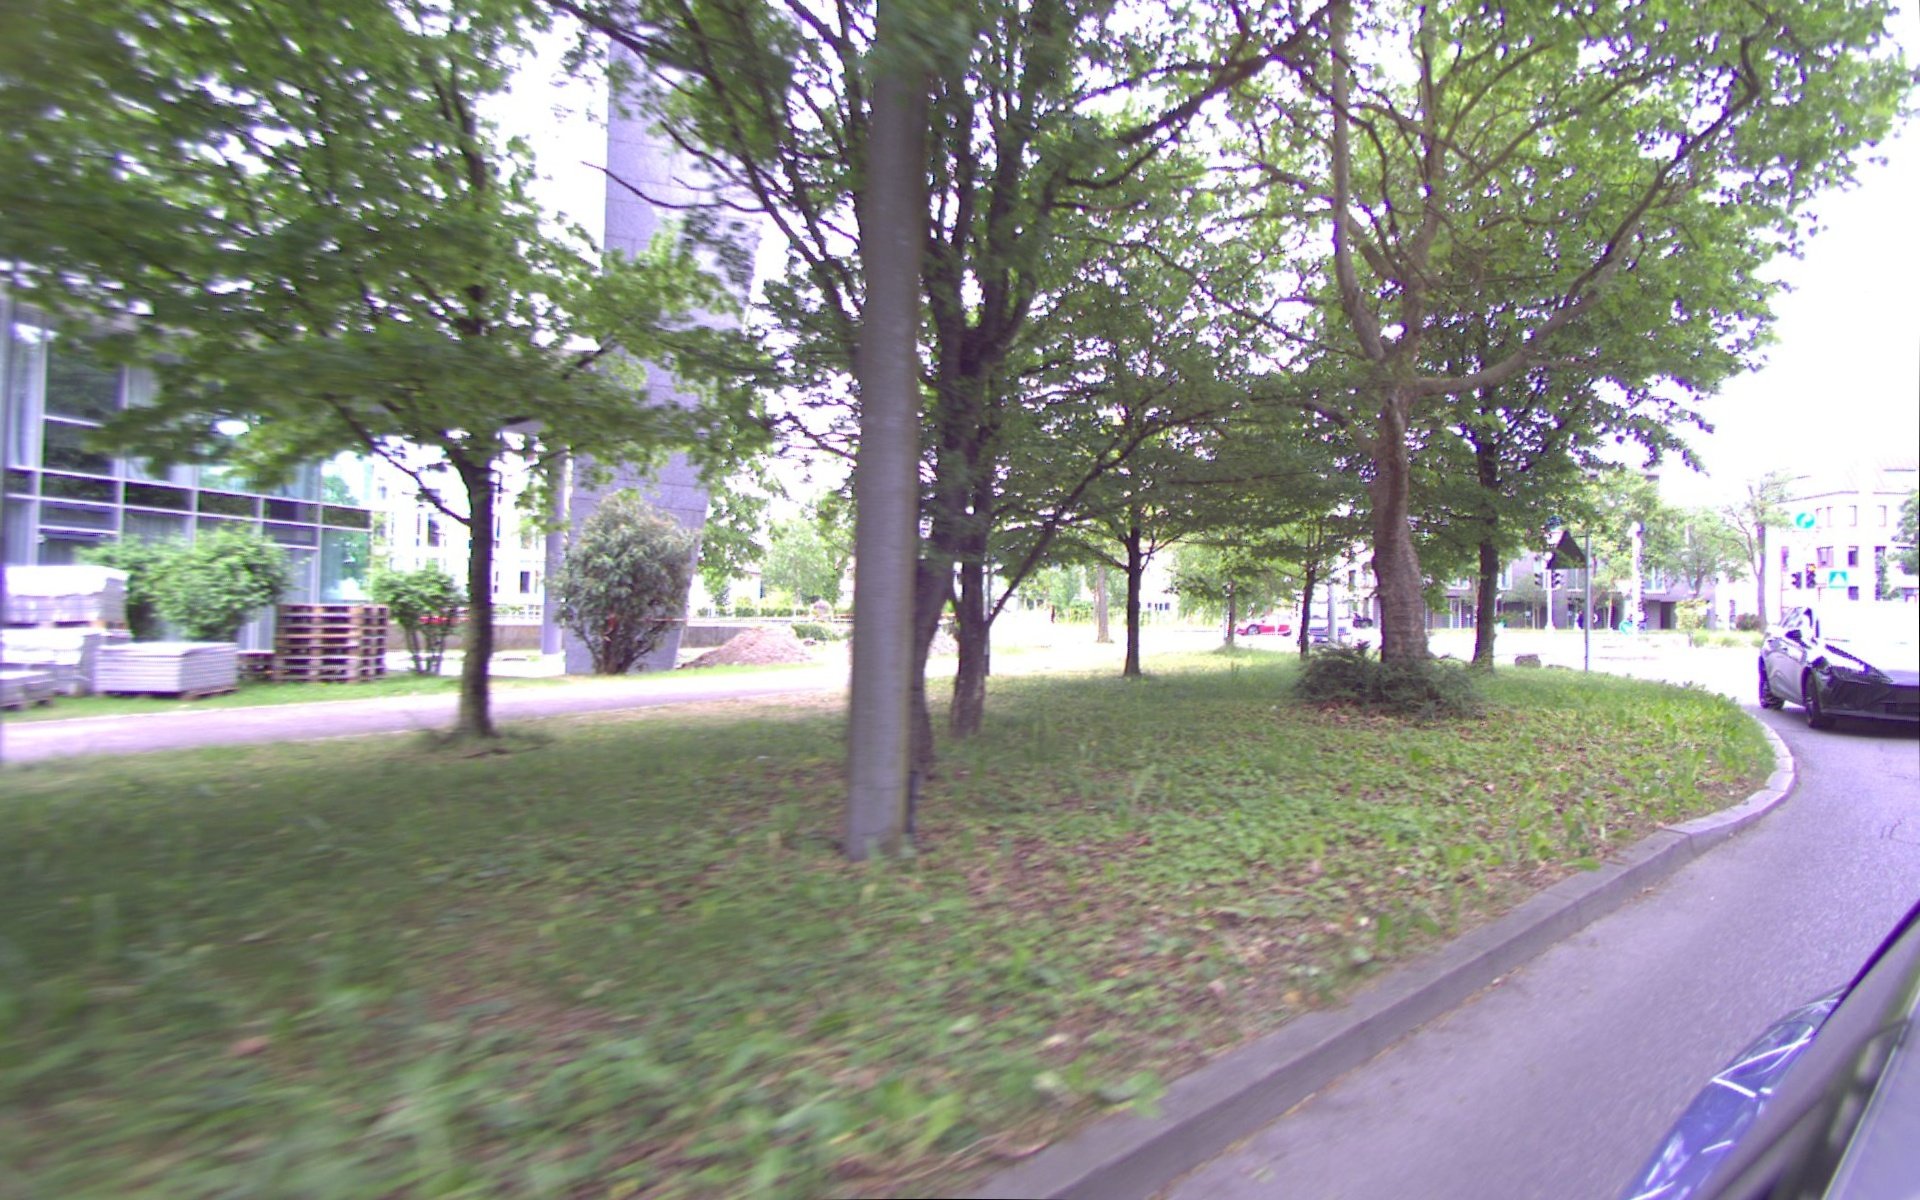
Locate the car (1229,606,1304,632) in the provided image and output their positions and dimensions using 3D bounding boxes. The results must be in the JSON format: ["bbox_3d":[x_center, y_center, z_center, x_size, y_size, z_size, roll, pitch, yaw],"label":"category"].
[{"bbox_3d":[19.981,1.243,66.103,4.290,1.505,1.826,2,-3,-5],"label":"car"}]

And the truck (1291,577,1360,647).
[{"bbox_3d":[17.886,0.525,49.810,2.401,3.235,6.440,0,0,13],"label":"truck"}]

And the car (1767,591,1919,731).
[{"bbox_3d":[11.563,0.660,12.646,1.788,1.502,3.974,2,1,32],"label":"car"}]

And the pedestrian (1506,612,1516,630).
[{"bbox_3d":[42.723,1.619,78.461,0.528,1.375,0.655,-2,-3,18],"label":"pedestrian"}]

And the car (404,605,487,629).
[{"bbox_3d":[-32.486,1.072,64.006,4.266,1.442,2.003,1,-1,-9],"label":"car"}]

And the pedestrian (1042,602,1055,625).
[{"bbox_3d":[6.782,1.008,77.384,0.815,1.718,0.617,0,-3,-15],"label":"pedestrian"}]

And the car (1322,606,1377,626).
[{"bbox_3d":[34.282,1.397,89.160,4.050,1.622,1.997,1,-3,4],"label":"car"}]

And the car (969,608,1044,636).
[{"bbox_3d":[2.988,1.449,65.547,4.510,1.717,2.001,-1,-3,-6],"label":"car"}]

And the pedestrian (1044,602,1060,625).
[{"bbox_3d":[6.957,1.009,76.748,0.982,1.718,0.609,0,-3,-15],"label":"pedestrian"}]
